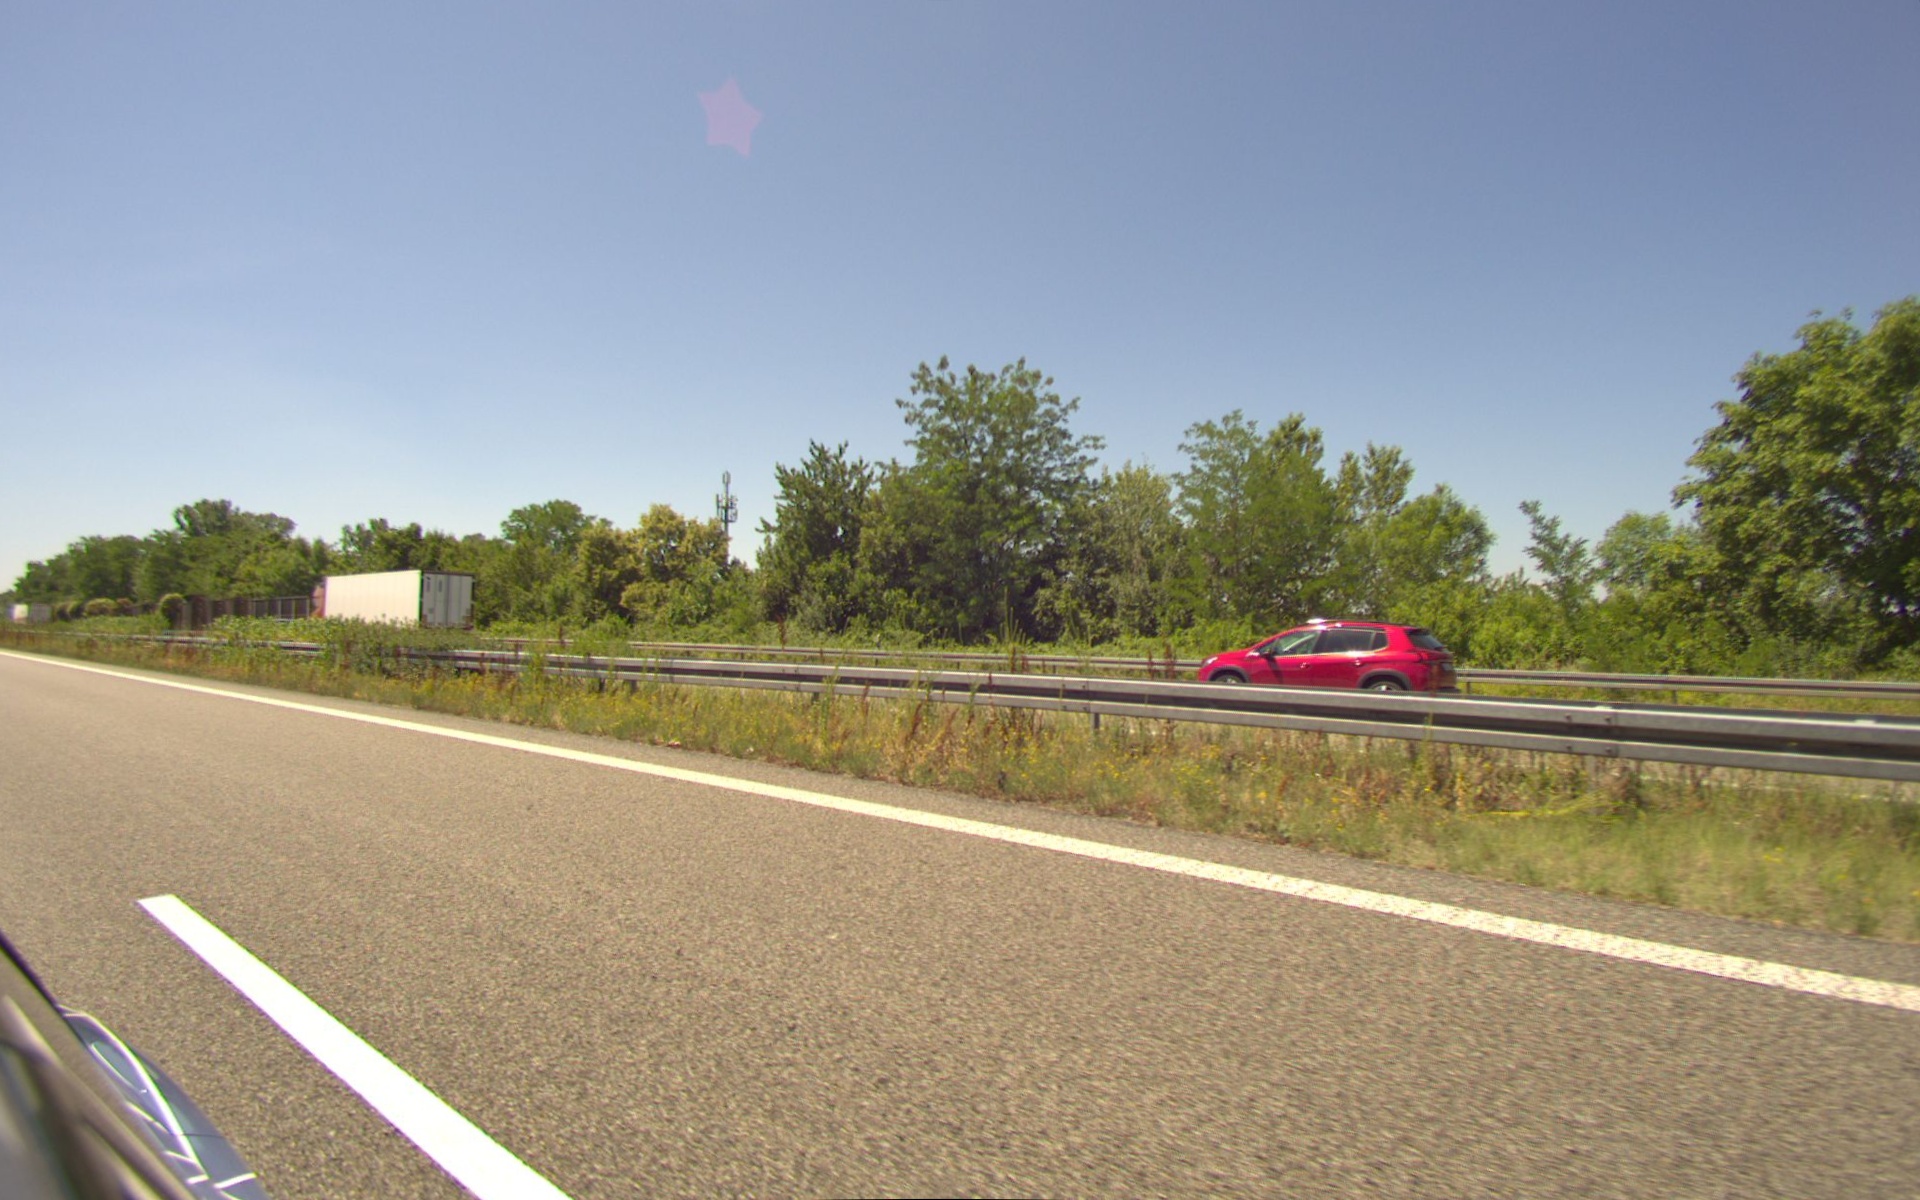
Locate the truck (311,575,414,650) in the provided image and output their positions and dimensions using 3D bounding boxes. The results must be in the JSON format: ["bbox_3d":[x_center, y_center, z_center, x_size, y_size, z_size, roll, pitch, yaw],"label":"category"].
[{"bbox_3d":[-33.742,0.760,57.031,7.413,3.965,2.703,-1,-4,42],"label":"truck"}]

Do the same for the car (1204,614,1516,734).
[{"bbox_3d":[6.244,1.076,16.131,4.332,1.657,1.636,-1,-2,42],"label":"car"}]

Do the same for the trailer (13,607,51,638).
[{"bbox_3d":[-131.896,3.241,143.716,12.217,4.205,2.812,-2,-1,42],"label":"trailer"}]

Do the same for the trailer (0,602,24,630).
[{"bbox_3d":[-156.376,2.621,165.901,12.948,4.512,3.133,-1,-1,42],"label":"trailer"}]

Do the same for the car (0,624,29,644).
[{"bbox_3d":[-86.612,3.140,92.453,3.998,1.717,1.973,-2,-2,41],"label":"car"}]

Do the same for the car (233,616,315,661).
[{"bbox_3d":[-28.022,1.570,41.291,3.998,1.717,1.823,-2,-2,42],"label":"car"}]

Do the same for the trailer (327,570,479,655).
[{"bbox_3d":[-29.601,0.748,53.327,13.060,3.965,2.703,-1,-4,42],"label":"trailer"}]
